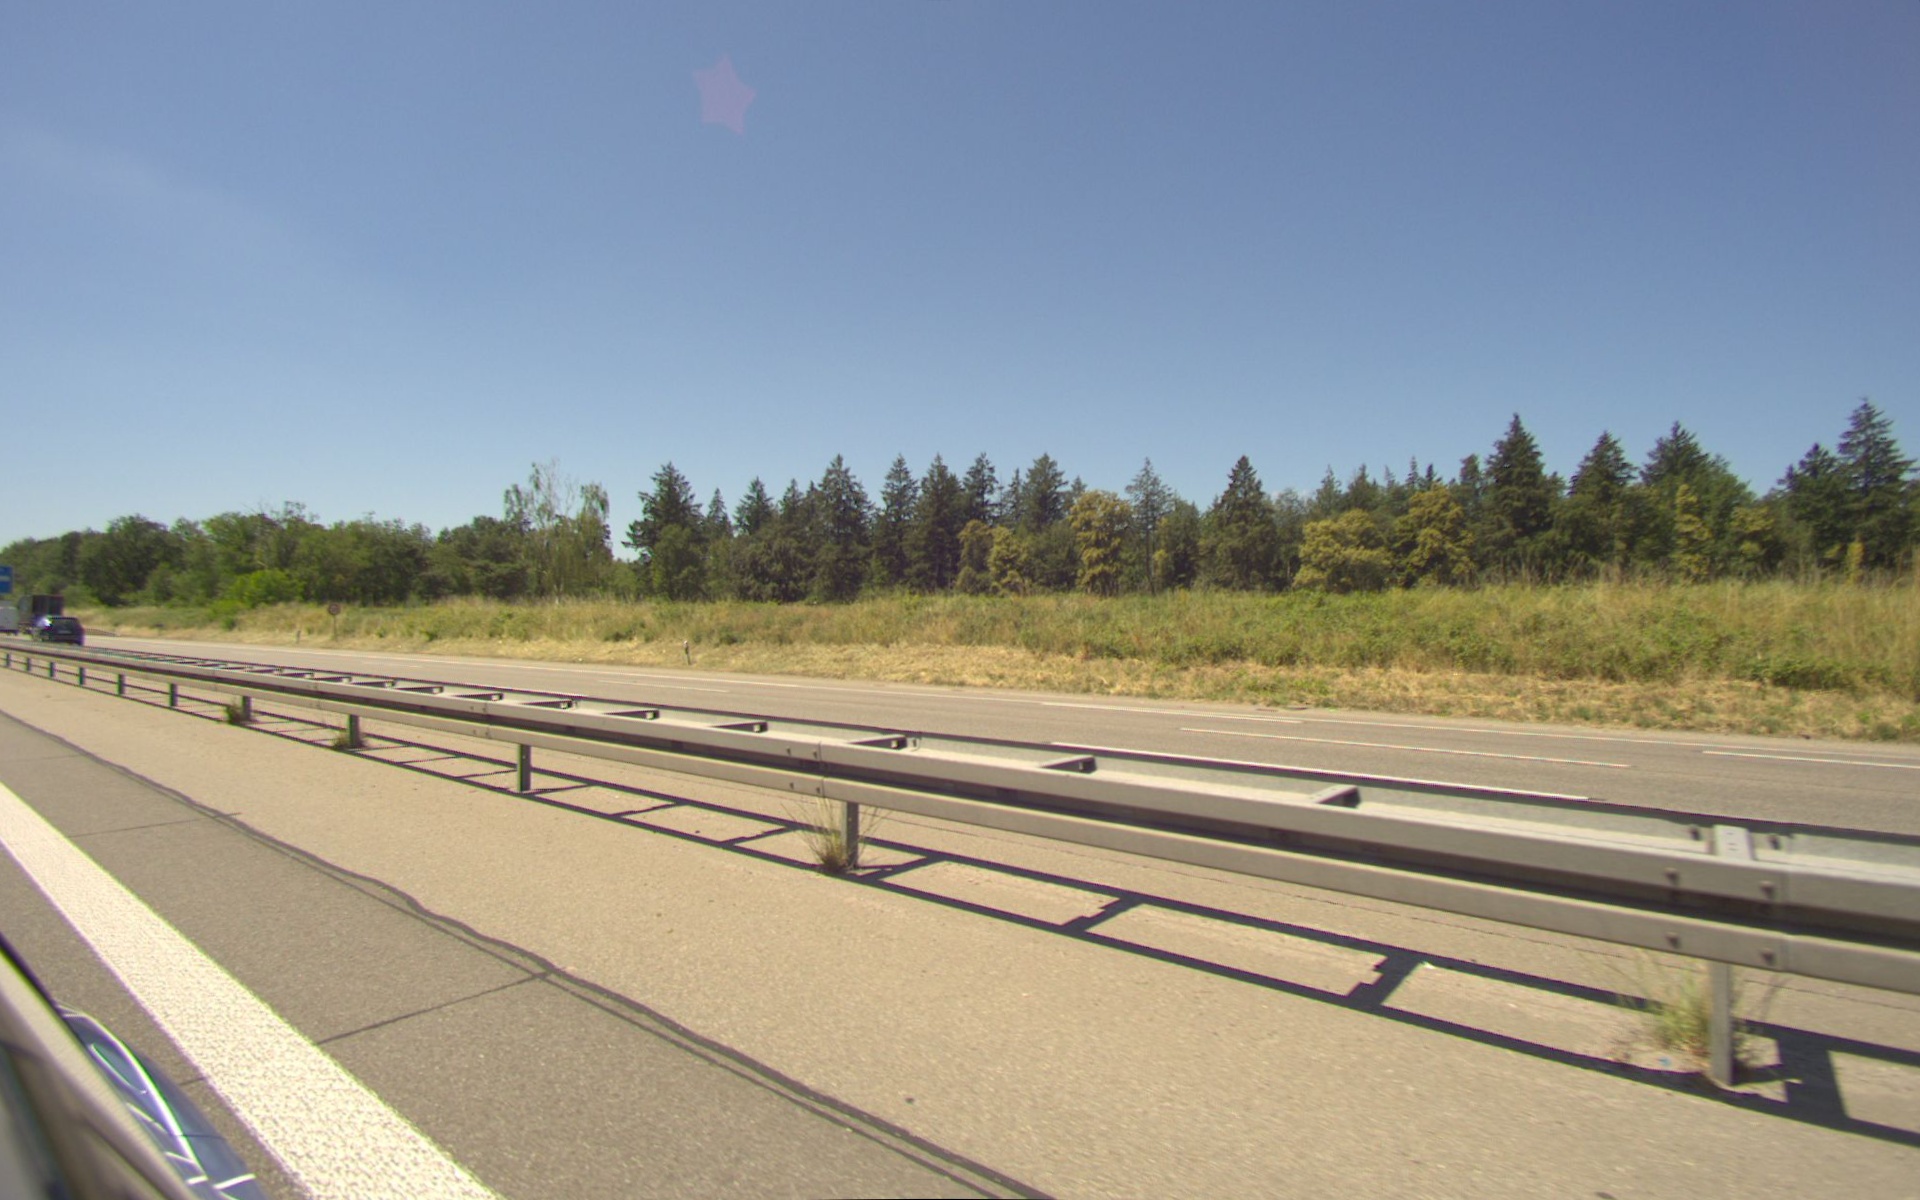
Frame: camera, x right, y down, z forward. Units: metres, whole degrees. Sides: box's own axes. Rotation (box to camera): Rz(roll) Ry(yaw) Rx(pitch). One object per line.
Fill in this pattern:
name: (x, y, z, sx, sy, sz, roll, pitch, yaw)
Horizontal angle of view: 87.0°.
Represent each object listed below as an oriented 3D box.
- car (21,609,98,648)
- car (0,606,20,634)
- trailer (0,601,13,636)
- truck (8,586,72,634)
car: (-48.326, 1.533, 54.281, 5.221, 1.909, 2.339, -1, -4, 41)
car: (-88.984, 1.870, 93.466, 7.129, 2.467, 2.339, -1, -4, 41)
trailer: (-122.623, 2.340, 127.623, 14.118, 4.230, 3.122, -1, -4, 41)
truck: (-95.815, 1.069, 105.280, 12.180, 4.660, 3.341, -1, -4, 41)
